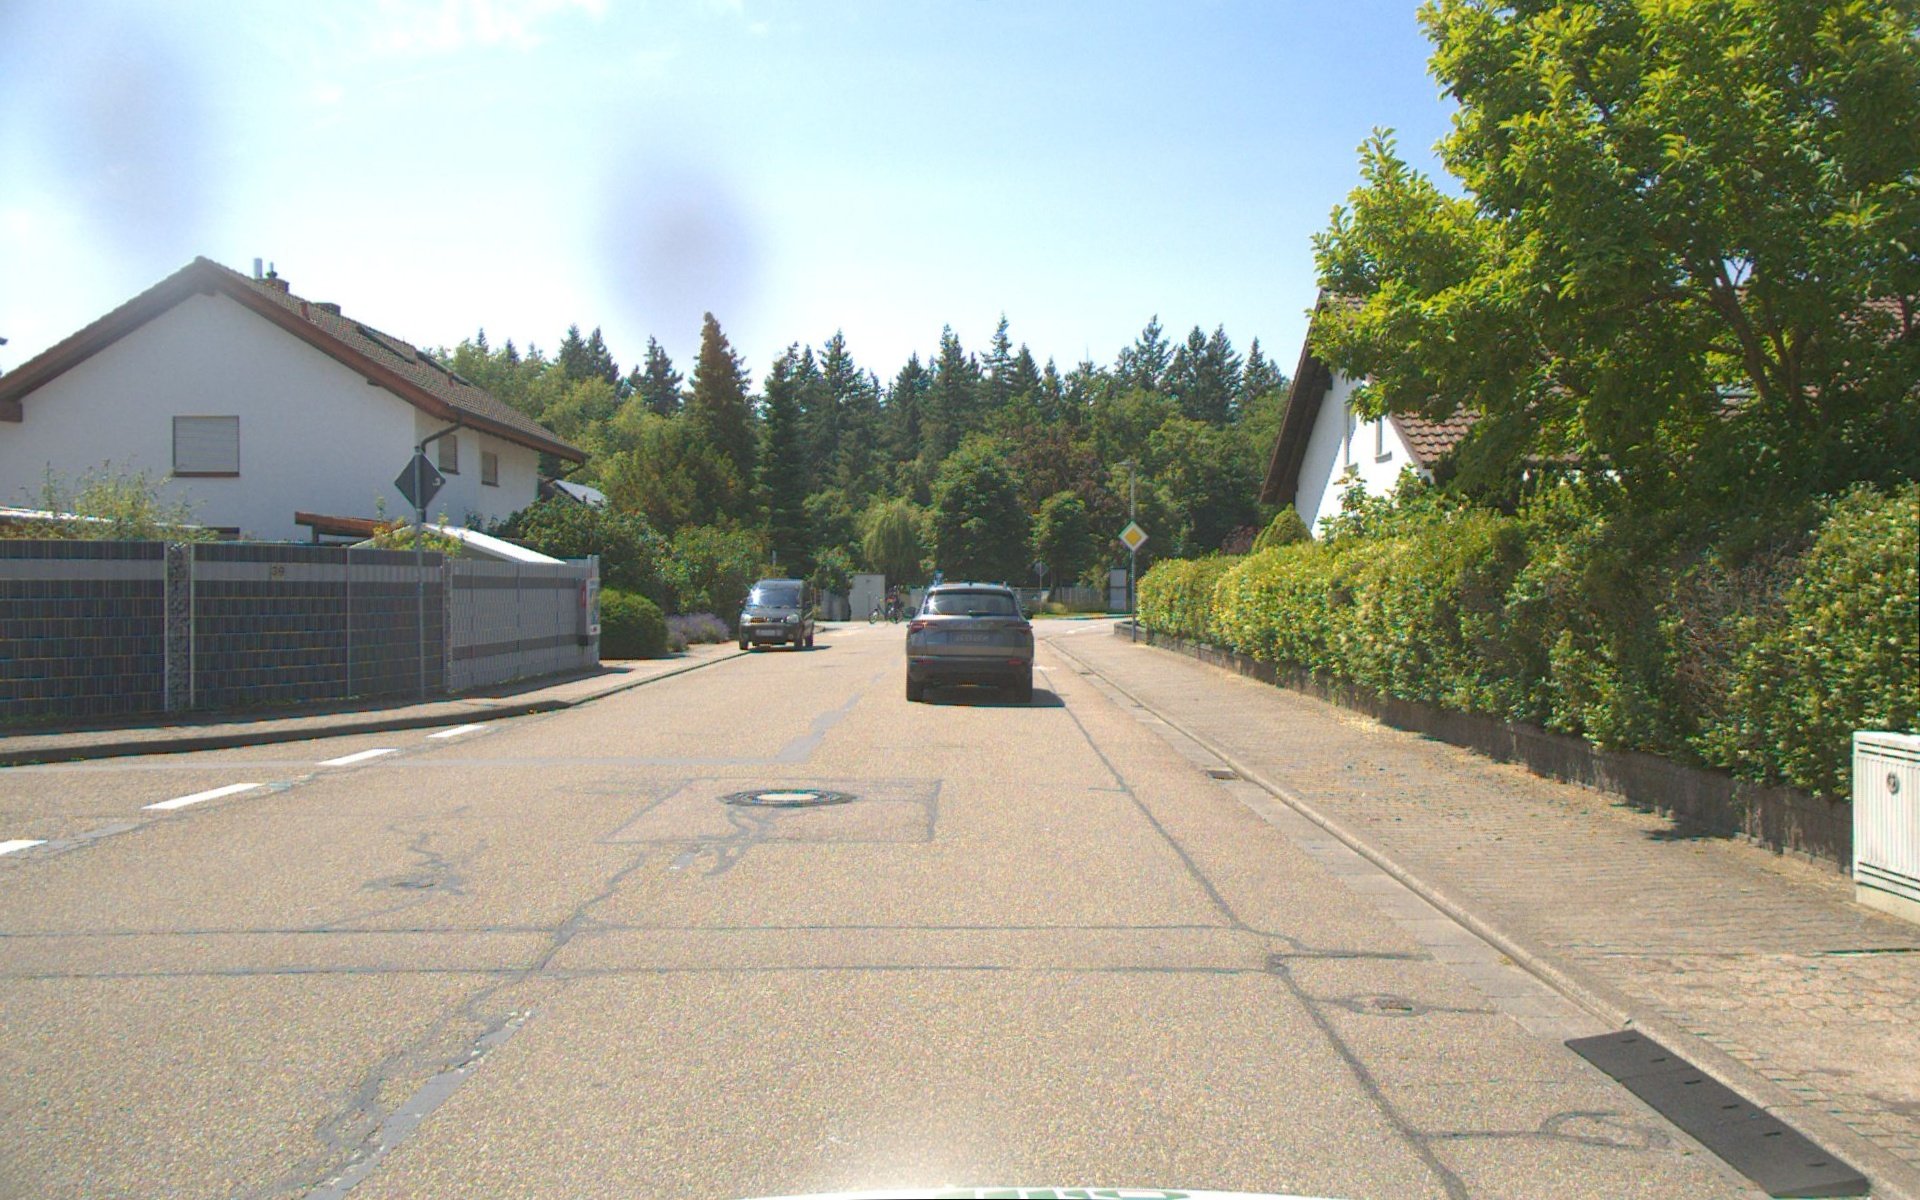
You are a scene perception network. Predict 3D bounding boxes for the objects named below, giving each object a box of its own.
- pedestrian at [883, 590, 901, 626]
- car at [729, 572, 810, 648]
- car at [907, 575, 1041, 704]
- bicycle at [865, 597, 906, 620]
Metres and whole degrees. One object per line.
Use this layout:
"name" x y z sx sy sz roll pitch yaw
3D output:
"pedestrian" -2.930 0.353 71.011 0.604 1.527 0.498 0 0 -34
"car" -4.931 0.241 43.339 1.683 1.878 4.054 0 0 -1
"car" 0.170 0.514 23.824 1.726 1.646 3.999 2 0 -1
"bicycle" -3.226 0.366 71.412 1.827 0.980 0.438 0 0 -36
